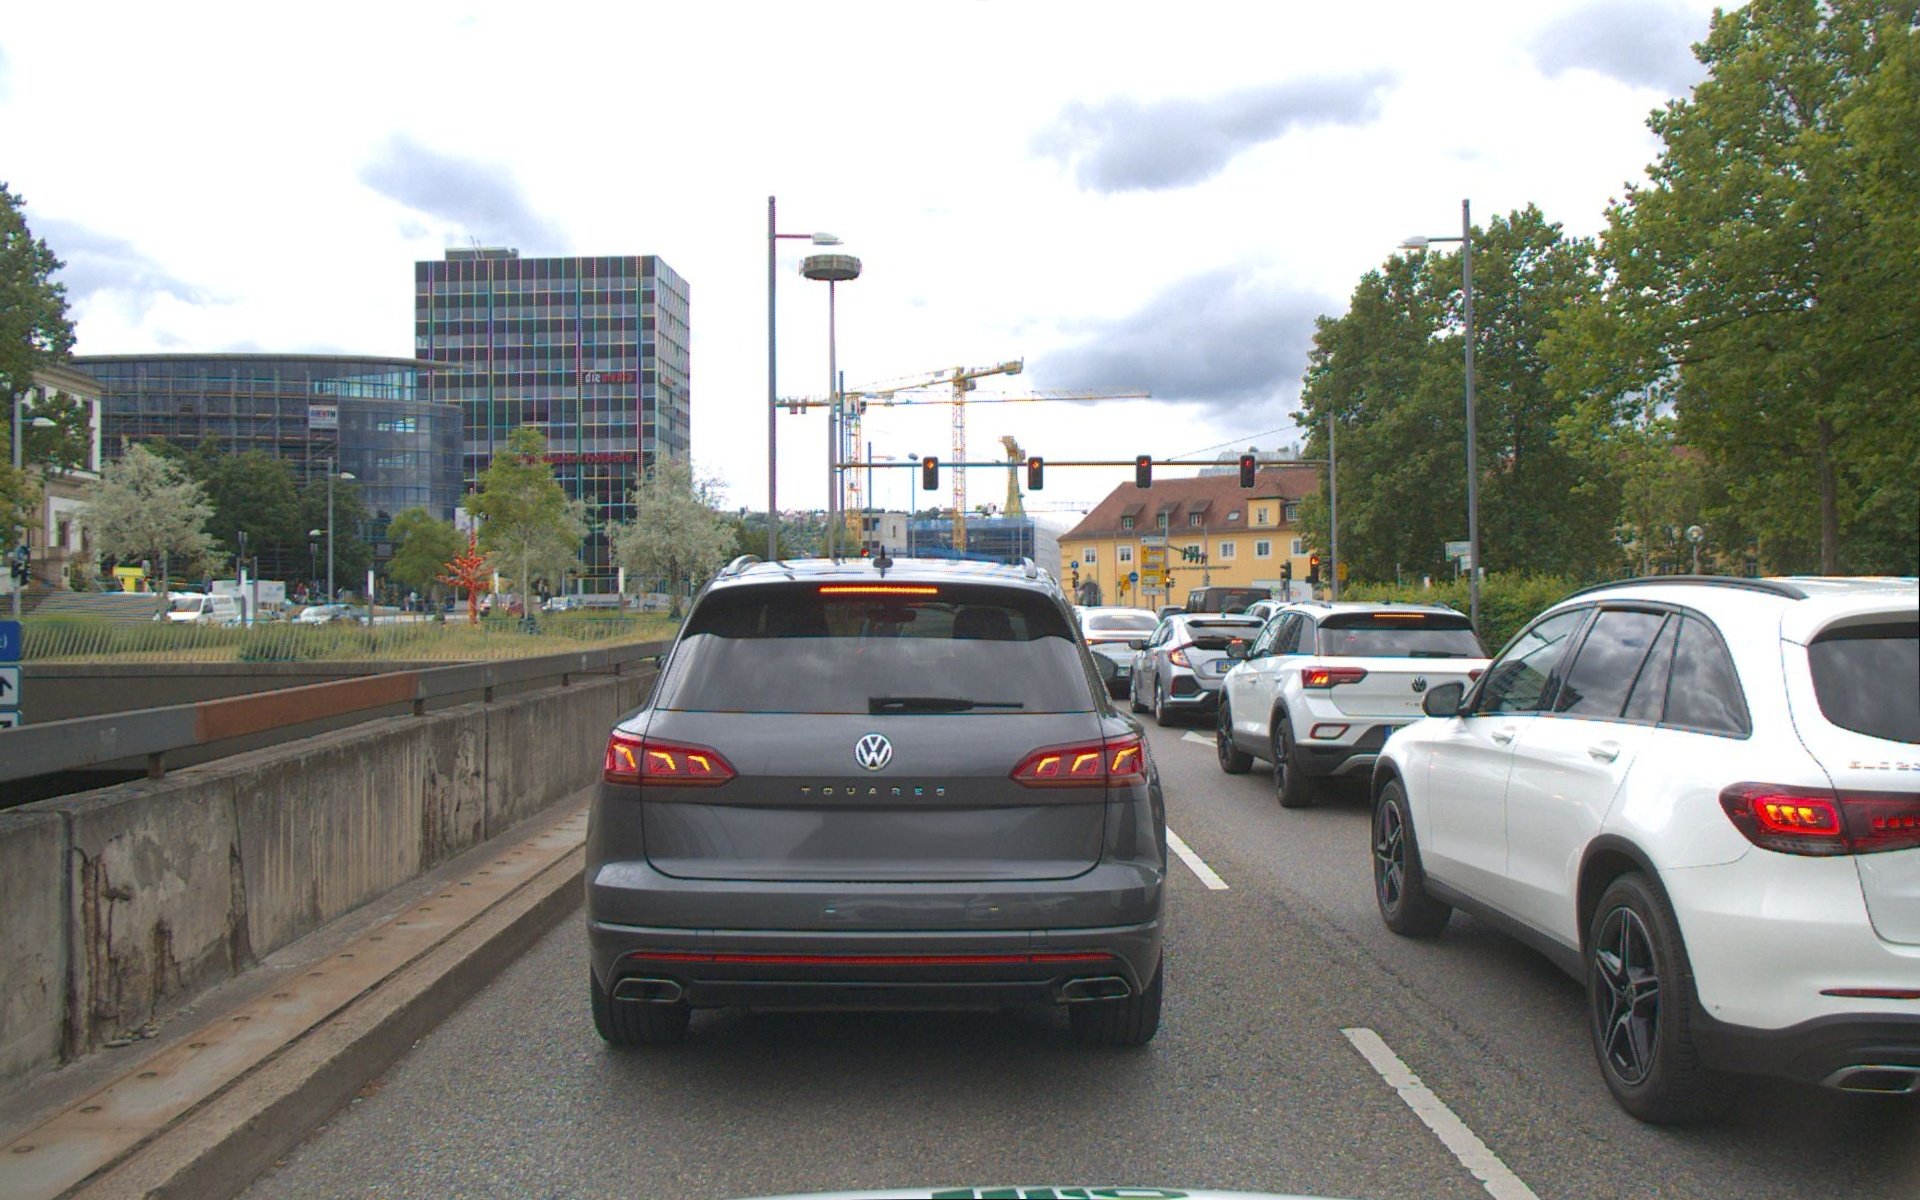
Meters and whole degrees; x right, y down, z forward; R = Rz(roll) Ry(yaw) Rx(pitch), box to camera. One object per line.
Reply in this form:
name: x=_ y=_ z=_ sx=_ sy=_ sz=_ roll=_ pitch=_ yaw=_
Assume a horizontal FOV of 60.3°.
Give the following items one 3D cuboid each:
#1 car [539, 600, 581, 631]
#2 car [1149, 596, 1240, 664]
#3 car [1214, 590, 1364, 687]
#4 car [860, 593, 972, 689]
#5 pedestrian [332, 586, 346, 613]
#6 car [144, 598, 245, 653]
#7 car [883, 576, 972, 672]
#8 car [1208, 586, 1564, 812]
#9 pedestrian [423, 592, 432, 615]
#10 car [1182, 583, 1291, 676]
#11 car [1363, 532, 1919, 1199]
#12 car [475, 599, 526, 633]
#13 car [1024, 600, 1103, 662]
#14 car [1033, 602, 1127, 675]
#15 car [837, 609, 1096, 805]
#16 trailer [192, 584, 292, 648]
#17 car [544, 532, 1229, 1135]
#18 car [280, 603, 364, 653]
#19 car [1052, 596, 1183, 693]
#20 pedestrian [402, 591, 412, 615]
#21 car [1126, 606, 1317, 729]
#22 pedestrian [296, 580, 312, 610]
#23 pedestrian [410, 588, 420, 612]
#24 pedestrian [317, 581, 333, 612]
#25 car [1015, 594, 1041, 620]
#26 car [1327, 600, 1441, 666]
car: x=-29.159 y=1.108 z=120.645 sx=1.953 sy=2.048 sz=4.691 roll=0 pitch=1 yaw=-1
car: x=6.300 y=0.801 z=44.770 sx=1.871 sy=1.727 sz=4.011 roll=2 pitch=-1 yaw=0
car: x=6.363 y=0.694 z=32.496 sx=1.953 sy=1.668 sz=4.303 roll=0 pitch=2 yaw=-2
car: x=-0.802 y=0.729 z=30.997 sx=1.912 sy=1.628 sz=3.930 roll=2 pitch=0 yaw=-1
pedestrian: x=-48.044 y=-0.051 z=127.890 sx=0.774 sy=2.049 sz=0.741 roll=-1 pitch=1 yaw=2
car: x=-31.372 y=1.011 z=67.941 sx=1.953 sy=2.048 sz=4.692 roll=0 pitch=1 yaw=0
car: x=-0.757 y=0.536 z=38.534 sx=1.912 sy=2.053 sz=3.930 roll=2 pitch=0 yaw=-1
car: x=3.355 y=0.730 z=13.969 sx=1.887 sy=1.578 sz=4.489 roll=1 pitch=-1 yaw=0
pedestrian: x=-47.420 y=0.334 z=147.383 sx=0.726 sy=2.049 sz=0.789 roll=-1 pitch=1 yaw=-16
car: x=6.480 y=0.689 z=39.194 sx=1.871 sy=2.049 sz=4.011 roll=2 pitch=-1 yaw=0
car: x=2.989 y=0.668 z=6.215 sx=1.887 sy=1.682 sz=4.490 roll=0 pitch=0 yaw=0
car: x=-29.471 y=1.049 z=106.185 sx=1.953 sy=2.049 sz=4.690 roll=2 pitch=-1 yaw=-1
car: x=2.705 y=0.822 z=44.055 sx=1.887 sy=1.556 sz=4.047 roll=1 pitch=-1 yaw=0
car: x=2.683 y=0.855 z=37.766 sx=1.887 sy=1.556 sz=4.047 roll=1 pitch=-1 yaw=0
car: x=0.016 y=0.818 z=14.381 sx=1.912 sy=1.408 sz=3.930 roll=2 pitch=0 yaw=-1
trailer: x=-31.613 y=0.651 z=73.039 sx=1.996 sy=2.650 sz=5.507 roll=2 pitch=1 yaw=-1
car: x=-0.234 y=0.661 z=6.642 sx=1.912 sy=1.680 sz=3.999 roll=0 pitch=0 yaw=-1
car: x=-28.586 y=1.236 z=74.281 sx=1.953 sy=2.048 sz=4.692 roll=0 pitch=1 yaw=0
car: x=2.667 y=0.743 z=28.947 sx=1.887 sy=1.556 sz=4.489 roll=1 pitch=-1 yaw=0
pedestrian: x=-47.757 y=0.244 z=142.858 sx=0.728 sy=2.049 sz=0.787 roll=-1 pitch=1 yaw=-23
car: x=3.383 y=0.844 z=22.231 sx=1.887 sy=1.457 sz=4.489 roll=1 pitch=-1 yaw=0
pedestrian: x=-44.374 y=-0.345 z=111.818 sx=0.723 sy=2.049 sz=0.793 roll=-1 pitch=1 yaw=0
pedestrian: x=-48.434 y=-0.012 z=147.024 sx=0.726 sy=2.049 sz=0.789 roll=-1 pitch=1 yaw=-16
pedestrian: x=-42.962 y=-0.248 z=111.848 sx=0.723 sy=2.049 sz=0.793 roll=-1 pitch=-2 yaw=3
car: x=4.558 y=0.497 z=111.466 sx=1.586 sy=1.656 sz=3.999 roll=2 pitch=-1 yaw=0
car: x=10.223 y=0.803 z=40.198 sx=1.891 sy=1.485 sz=4.529 roll=1 pitch=-1 yaw=4
